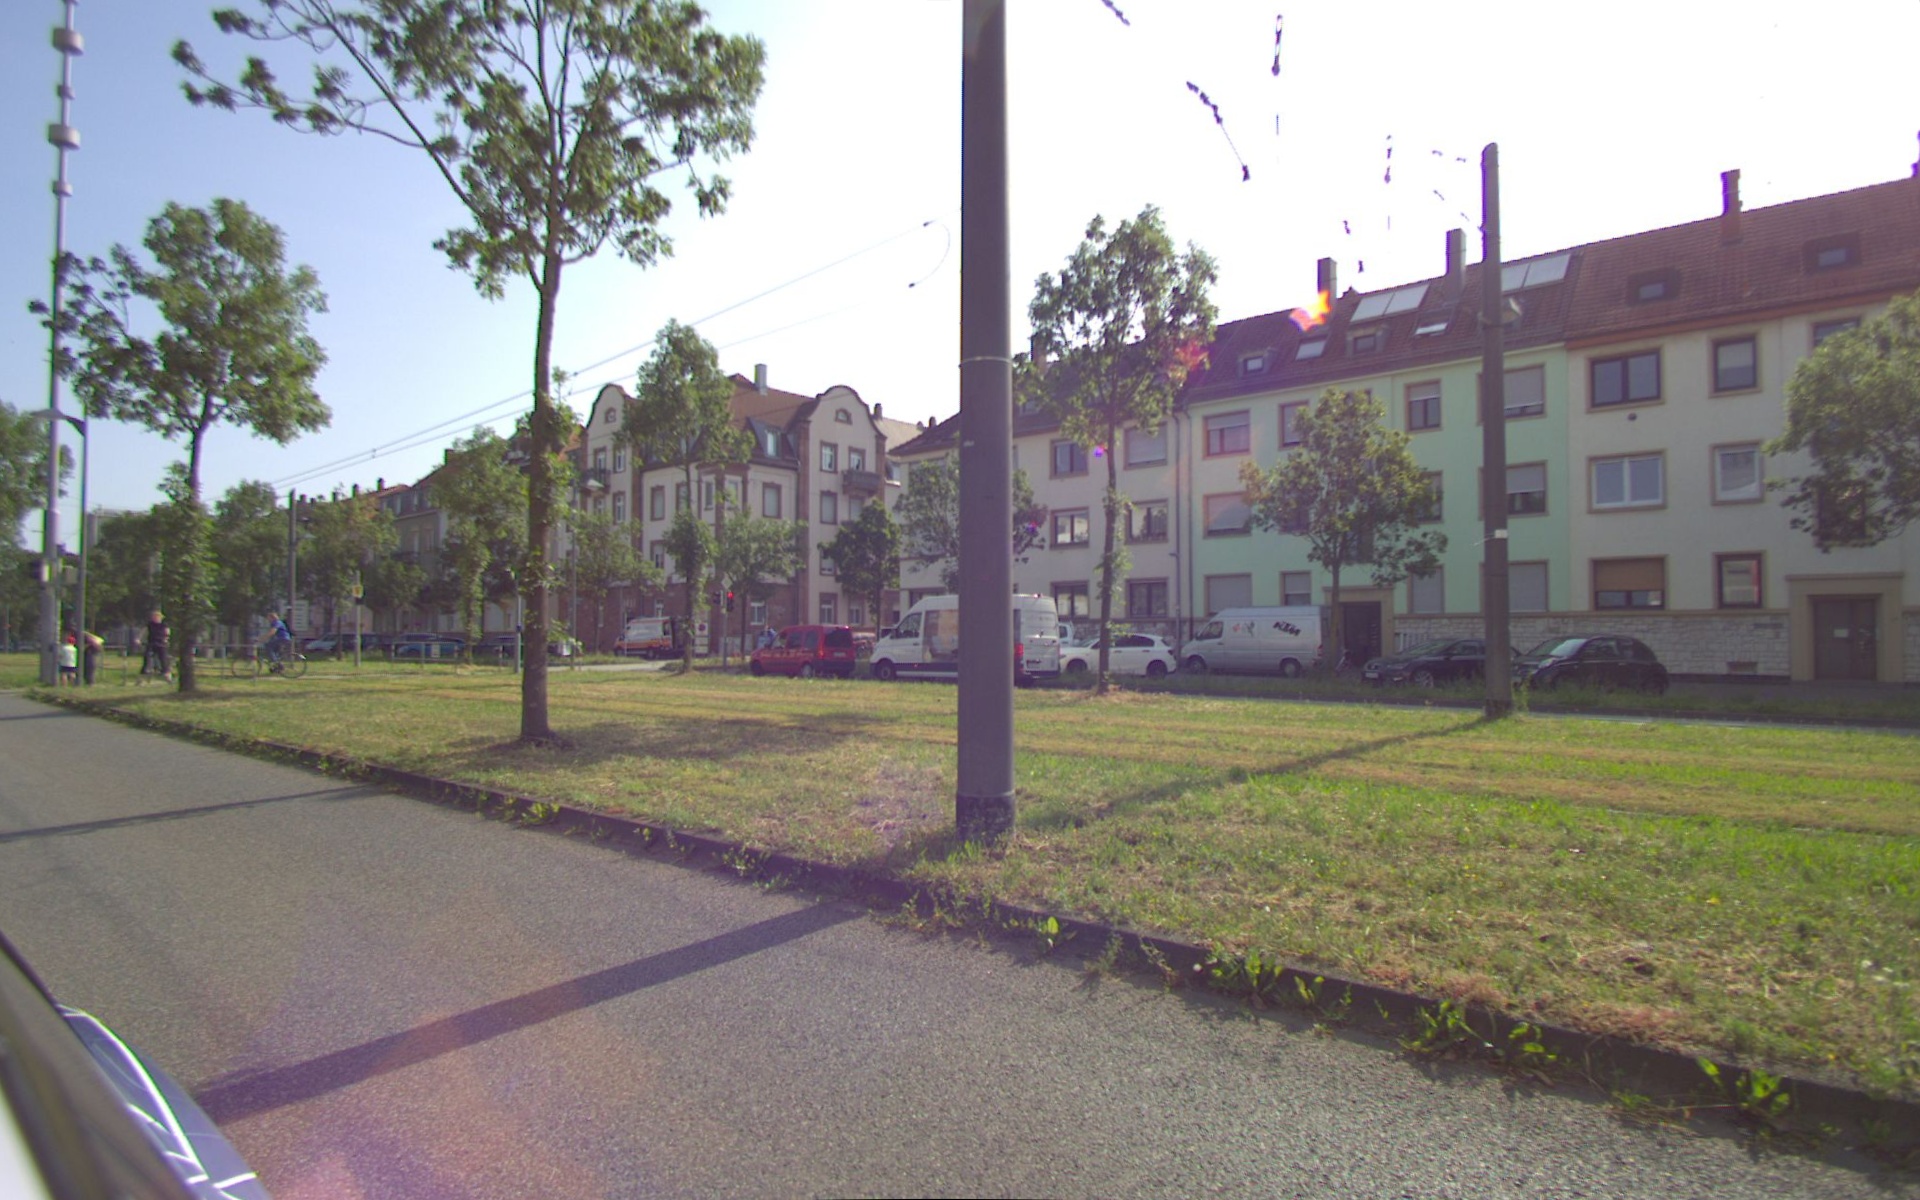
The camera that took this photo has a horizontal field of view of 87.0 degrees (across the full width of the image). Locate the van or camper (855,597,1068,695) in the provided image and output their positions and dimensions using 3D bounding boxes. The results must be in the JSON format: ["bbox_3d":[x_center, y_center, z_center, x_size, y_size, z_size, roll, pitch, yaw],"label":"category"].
[{"bbox_3d":[-0.075,1.308,28.509,6.053,2.493,2.120,-2,-5,40],"label":"van or camper"}]

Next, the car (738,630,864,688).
[{"bbox_3d":[-5.219,1.908,32.976,4.159,1.751,1.797,-2,-4,41],"label":"car"}]

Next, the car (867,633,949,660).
[{"bbox_3d":[-2.943,2.627,57.335,4.446,1.482,1.604,-1,-3,9],"label":"car"}]

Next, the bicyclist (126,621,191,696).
[{"bbox_3d":[-20.129,1.456,25.438,0.896,1.836,0.870,0,-2,3],"label":"bicyclist"}]

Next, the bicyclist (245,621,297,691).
[{"bbox_3d":[-19.211,1.539,28.249,1.168,1.864,0.913,-1,-1,-32],"label":"bicyclist"}]

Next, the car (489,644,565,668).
[{"bbox_3d":[-24.258,3.118,56.764,3.784,1.136,1.774,-1,-1,-18],"label":"car"}]

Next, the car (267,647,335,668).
[{"bbox_3d":[-54.475,4.750,83.772,4.423,1.502,2.006,-1,-1,-21],"label":"car"}]

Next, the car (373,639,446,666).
[{"bbox_3d":[-36.466,3.465,67.182,3.994,1.566,1.922,-1,-1,-19],"label":"car"}]

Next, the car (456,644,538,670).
[{"bbox_3d":[-27.546,3.369,60.320,4.269,1.336,2.006,-1,-1,-18],"label":"car"}]

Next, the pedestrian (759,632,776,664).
[{"bbox_3d":[-10.731,2.660,56.477,0.632,1.761,0.661,-2,-1,40],"label":"pedestrian"}]

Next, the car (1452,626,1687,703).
[{"bbox_3d":[13.825,1.418,23.087,4.279,1.541,2.004,-1,-1,-10],"label":"car"}]

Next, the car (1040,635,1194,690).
[{"bbox_3d":[4.860,1.906,31.512,4.294,1.486,1.862,-1,-1,-12],"label":"car"}]

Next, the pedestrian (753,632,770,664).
[{"bbox_3d":[-11.228,2.684,57.145,0.632,1.761,0.661,-2,-1,40],"label":"pedestrian"}]

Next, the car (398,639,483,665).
[{"bbox_3d":[-32.281,3.211,63.034,4.438,1.451,2.006,-1,-1,-18],"label":"car"}]

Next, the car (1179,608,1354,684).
[{"bbox_3d":[10.714,1.586,35.701,5.575,2.482,1.973,-2,-1,41],"label":"car"}]

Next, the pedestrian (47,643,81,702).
[{"bbox_3d":[-21.079,1.697,23.820,0.449,1.368,0.550,1,-3,-28],"label":"pedestrian"}]

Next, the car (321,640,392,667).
[{"bbox_3d":[-41.796,3.677,70.154,3.931,1.719,1.881,-1,-1,-21],"label":"car"}]

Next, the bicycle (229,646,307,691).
[{"bbox_3d":[-19.240,1.880,28.183,1.763,1.154,0.578,-1,-1,-33],"label":"bicycle"}]

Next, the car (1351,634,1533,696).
[{"bbox_3d":[11.917,1.580,25.117,3.715,1.353,1.777,-1,-1,-12],"label":"car"}]

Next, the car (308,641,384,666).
[{"bbox_3d":[-44.555,3.880,73.549,4.423,1.617,2.006,-1,-1,-21],"label":"car"}]

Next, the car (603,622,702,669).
[{"bbox_3d":[-18.252,2.676,59.970,6.499,2.583,2.326,-2,-1,38],"label":"car"}]

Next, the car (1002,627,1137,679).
[{"bbox_3d":[3.605,1.723,33.641,4.031,1.541,1.817,-1,-1,-12],"label":"car"}]

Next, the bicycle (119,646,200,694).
[{"bbox_3d":[-20.126,1.744,25.501,0.569,1.154,1.751,0,-2,3],"label":"bicycle"}]

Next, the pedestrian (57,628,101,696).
[{"bbox_3d":[-21.283,1.492,24.459,0.601,1.616,0.737,1,-3,-26],"label":"pedestrian"}]
